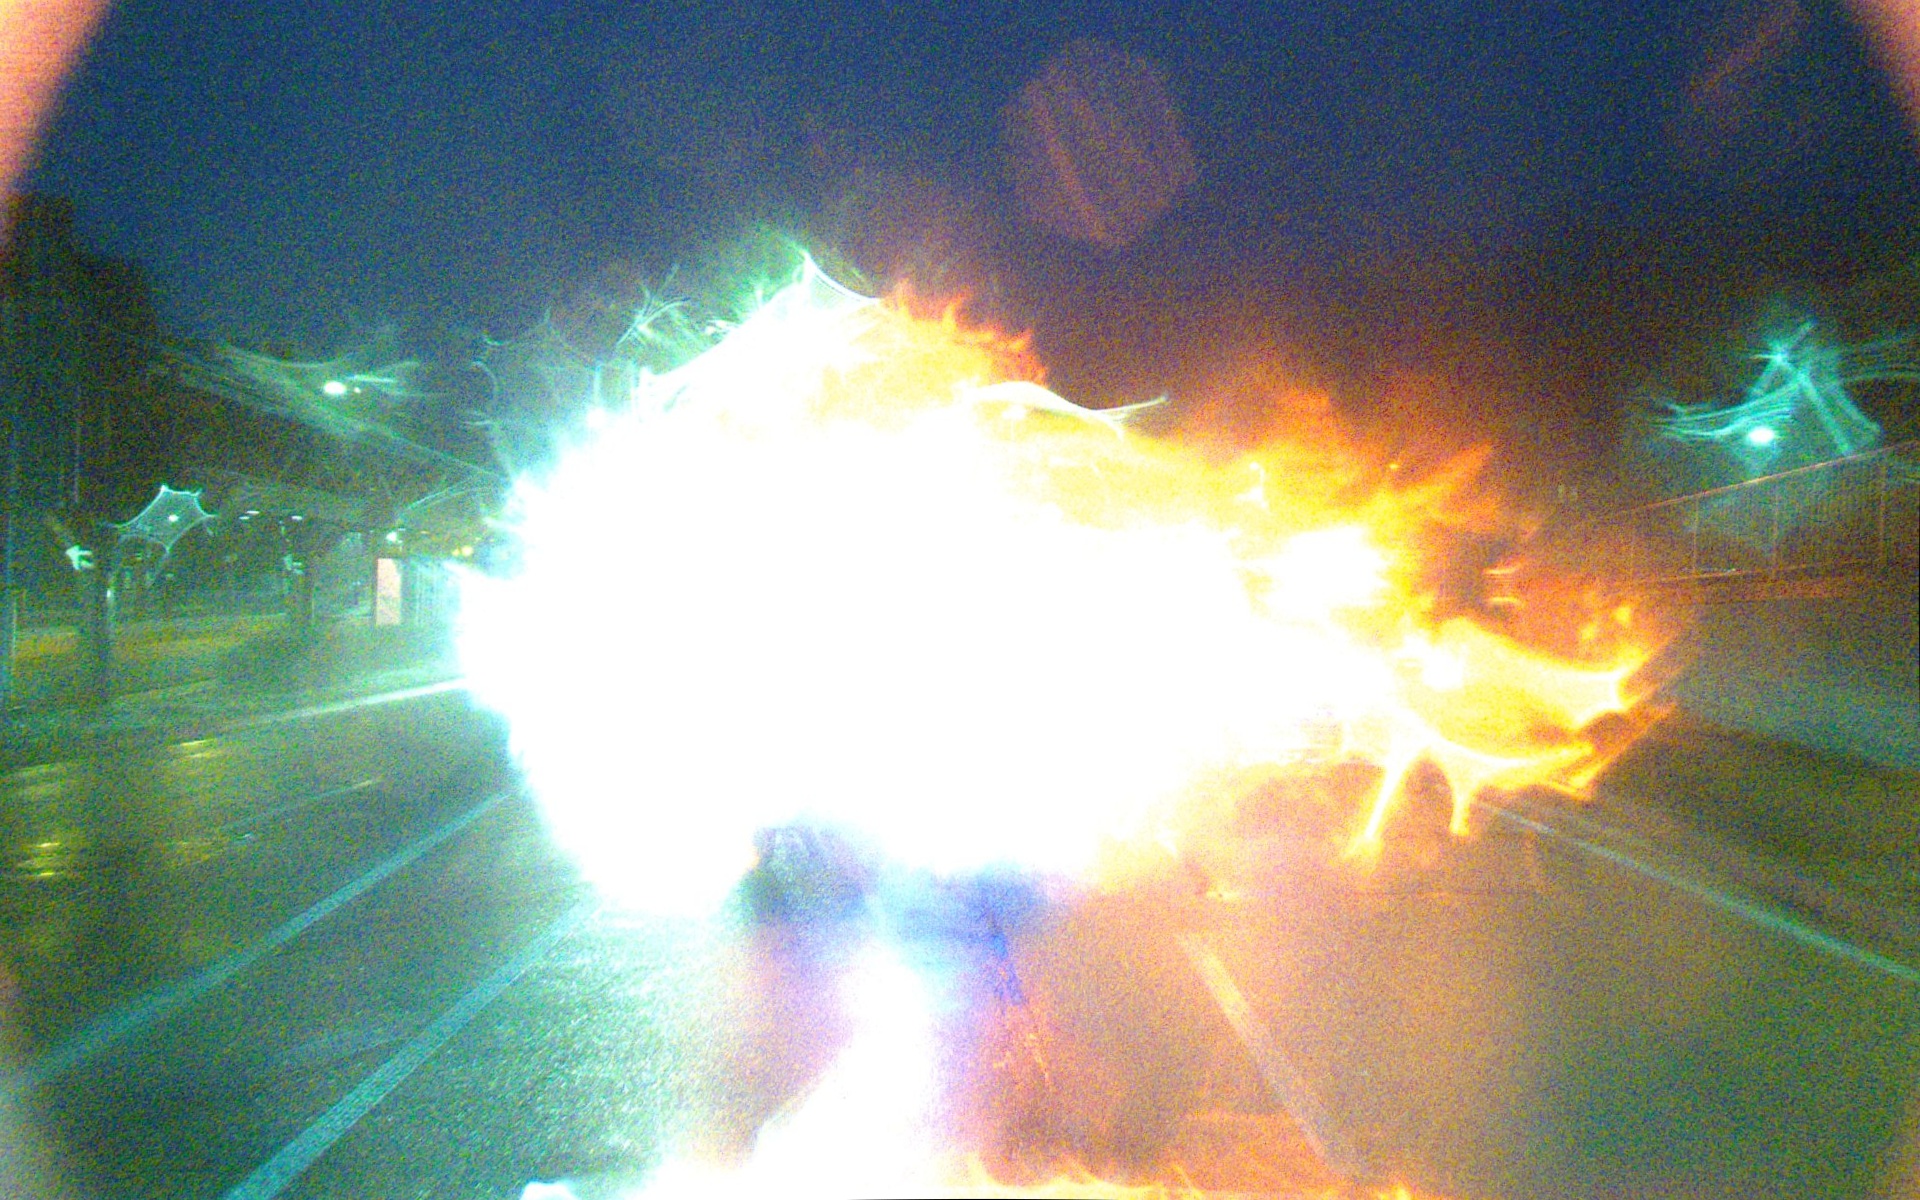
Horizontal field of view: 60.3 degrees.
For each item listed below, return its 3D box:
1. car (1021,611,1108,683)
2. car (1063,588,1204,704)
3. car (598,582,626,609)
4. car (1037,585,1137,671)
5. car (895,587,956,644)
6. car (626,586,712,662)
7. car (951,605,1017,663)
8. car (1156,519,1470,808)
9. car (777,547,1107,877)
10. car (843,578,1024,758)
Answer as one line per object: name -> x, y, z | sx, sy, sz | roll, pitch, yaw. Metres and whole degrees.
car -> 2.308, 1.017, 37.457 | 1.629, 1.475, 4.049 | 0, 1, -1
car -> 2.359, 0.575, 23.389 | 1.731, 1.475, 4.220 | 0, 1, 2
car -> -25.099, -0.339, 119.391 | 1.958, 1.945, 4.729 | 0, 0, -12
car -> 2.311, 0.494, 30.854 | 1.629, 1.475, 4.050 | 0, 0, 1
car -> -1.117, 0.444, 51.686 | 1.675, 1.666, 3.727 | -1, 1, -4
car -> -7.747, 0.596, 44.448 | 1.955, 1.945, 4.736 | 0, 0, -6
car -> 0.607, 0.884, 44.339 | 1.629, 1.475, 4.048 | 0, 0, -1
car -> 2.705, 0.412, 13.637 | 1.901, 2.006, 4.220 | 0, 1, 3
car -> -0.114, 0.573, 10.314 | 1.660, 1.658, 3.852 | 1, 0, -1
car -> -0.262, 0.618, 17.457 | 1.674, 1.666, 3.730 | -1, 1, 0
